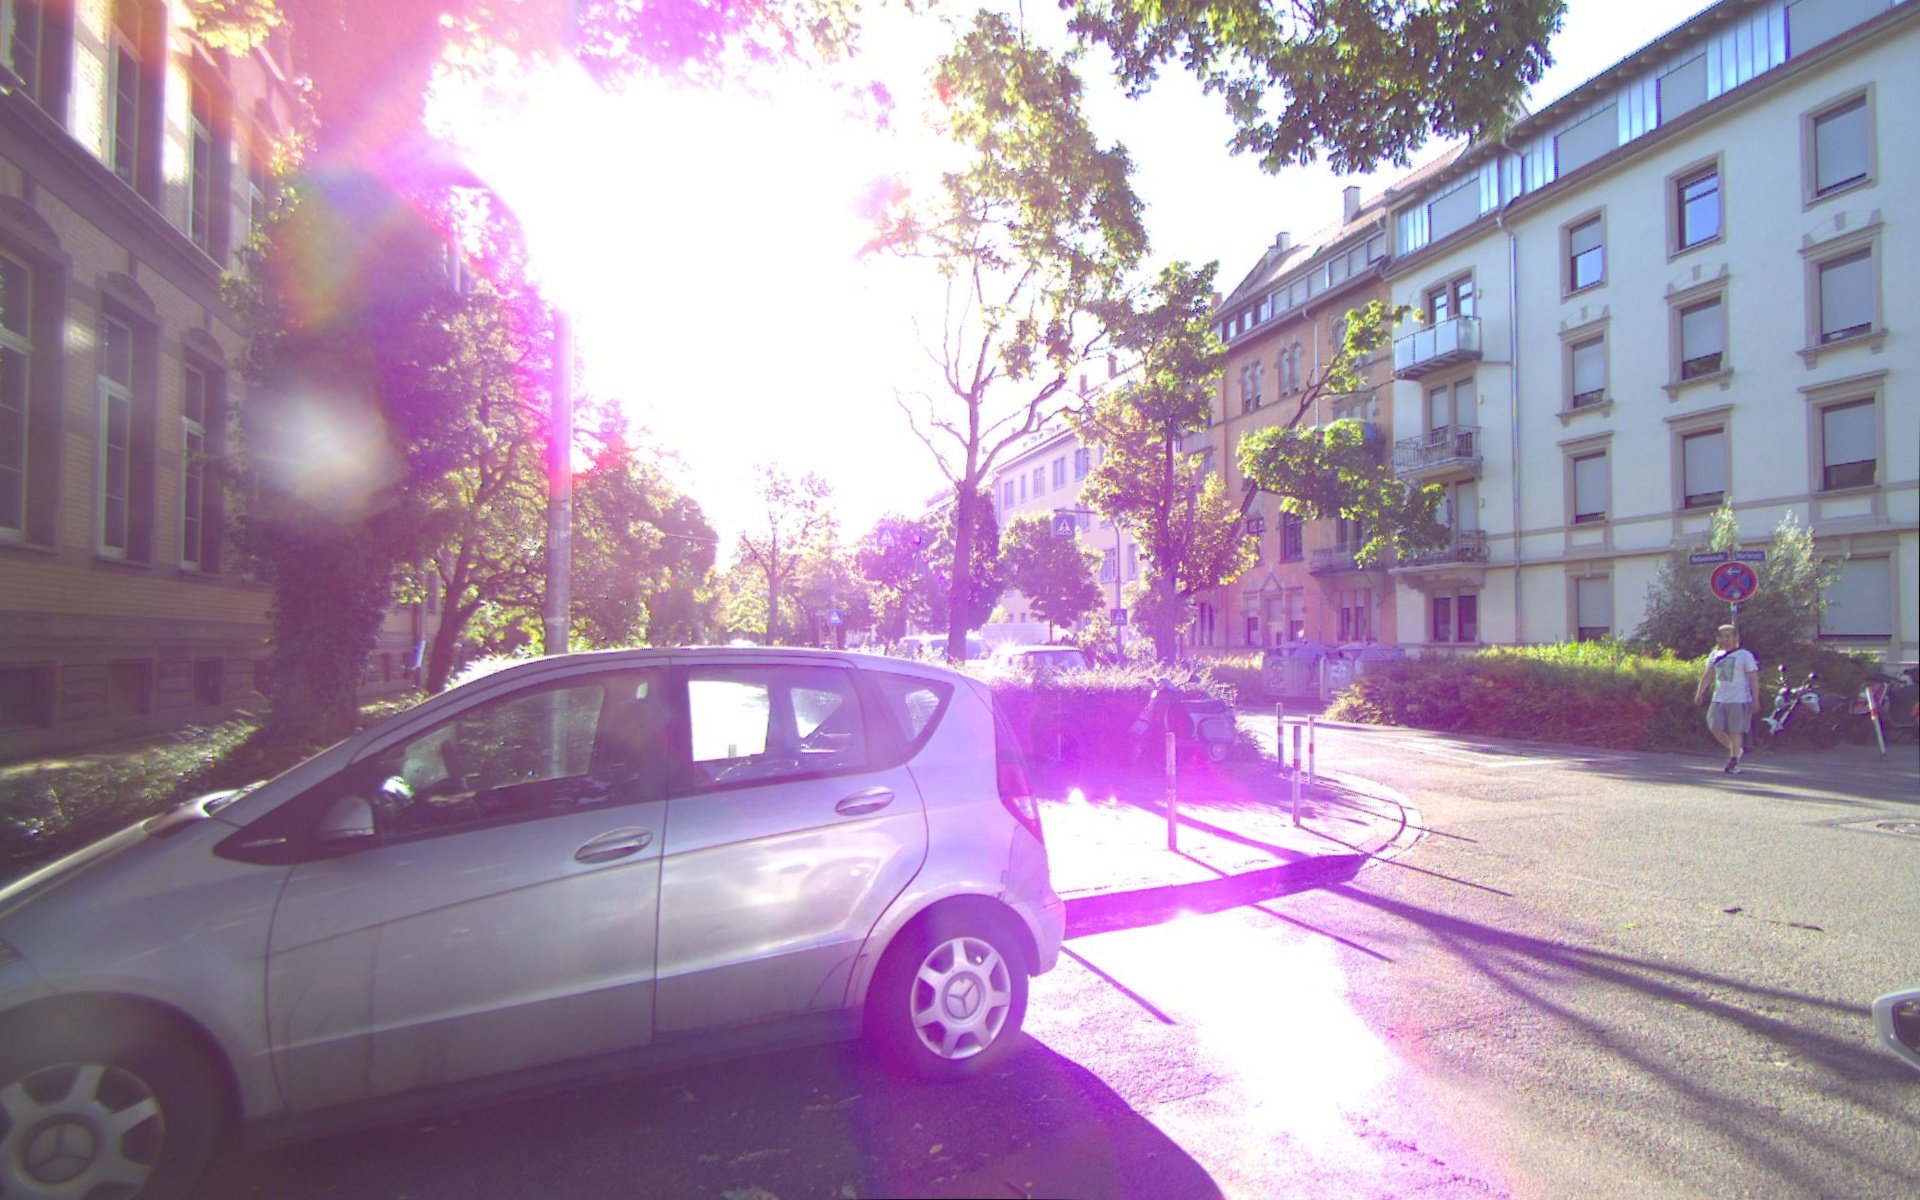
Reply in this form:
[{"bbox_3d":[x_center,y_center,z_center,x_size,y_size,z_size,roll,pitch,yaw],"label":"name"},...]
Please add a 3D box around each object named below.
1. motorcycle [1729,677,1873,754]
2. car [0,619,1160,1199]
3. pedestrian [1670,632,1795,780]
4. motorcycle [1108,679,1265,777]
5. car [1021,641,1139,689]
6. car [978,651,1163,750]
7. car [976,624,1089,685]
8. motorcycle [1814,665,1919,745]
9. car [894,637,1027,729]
[{"bbox_3d":[12.586,1.717,15.048,1.837,1.104,0.640,1,-3,-12],"label":"motorcycle"},{"bbox_3d":[-1.328,0.963,3.910,3.902,1.578,1.701,2,-6,-27],"label":"car"},{"bbox_3d":[9.686,1.300,12.615,0.991,1.768,0.802,1,-3,-20],"label":"pedestrian"},{"bbox_3d":[2.788,1.544,12.359,1.865,1.116,0.542,1,-3,-18],"label":"motorcycle"},{"bbox_3d":[5.314,2.875,44.691,4.830,2.040,1.994,1,-3,-17],"label":"car"},{"bbox_3d":[1.903,1.756,18.698,1.856,1.595,4.129,1,-3,-19],"label":"car"},{"bbox_3d":[3.348,2.538,46.856,4.834,2.740,2.128,1,-3,-19],"label":"car"},{"bbox_3d":[14.669,1.646,15.850,2.006,1.212,0.613,1,-3,-7],"label":"motorcycle"},{"bbox_3d":[-0.123,2.034,25.456,1.969,2.040,4.632,-1,-3,-18],"label":"car"}]
